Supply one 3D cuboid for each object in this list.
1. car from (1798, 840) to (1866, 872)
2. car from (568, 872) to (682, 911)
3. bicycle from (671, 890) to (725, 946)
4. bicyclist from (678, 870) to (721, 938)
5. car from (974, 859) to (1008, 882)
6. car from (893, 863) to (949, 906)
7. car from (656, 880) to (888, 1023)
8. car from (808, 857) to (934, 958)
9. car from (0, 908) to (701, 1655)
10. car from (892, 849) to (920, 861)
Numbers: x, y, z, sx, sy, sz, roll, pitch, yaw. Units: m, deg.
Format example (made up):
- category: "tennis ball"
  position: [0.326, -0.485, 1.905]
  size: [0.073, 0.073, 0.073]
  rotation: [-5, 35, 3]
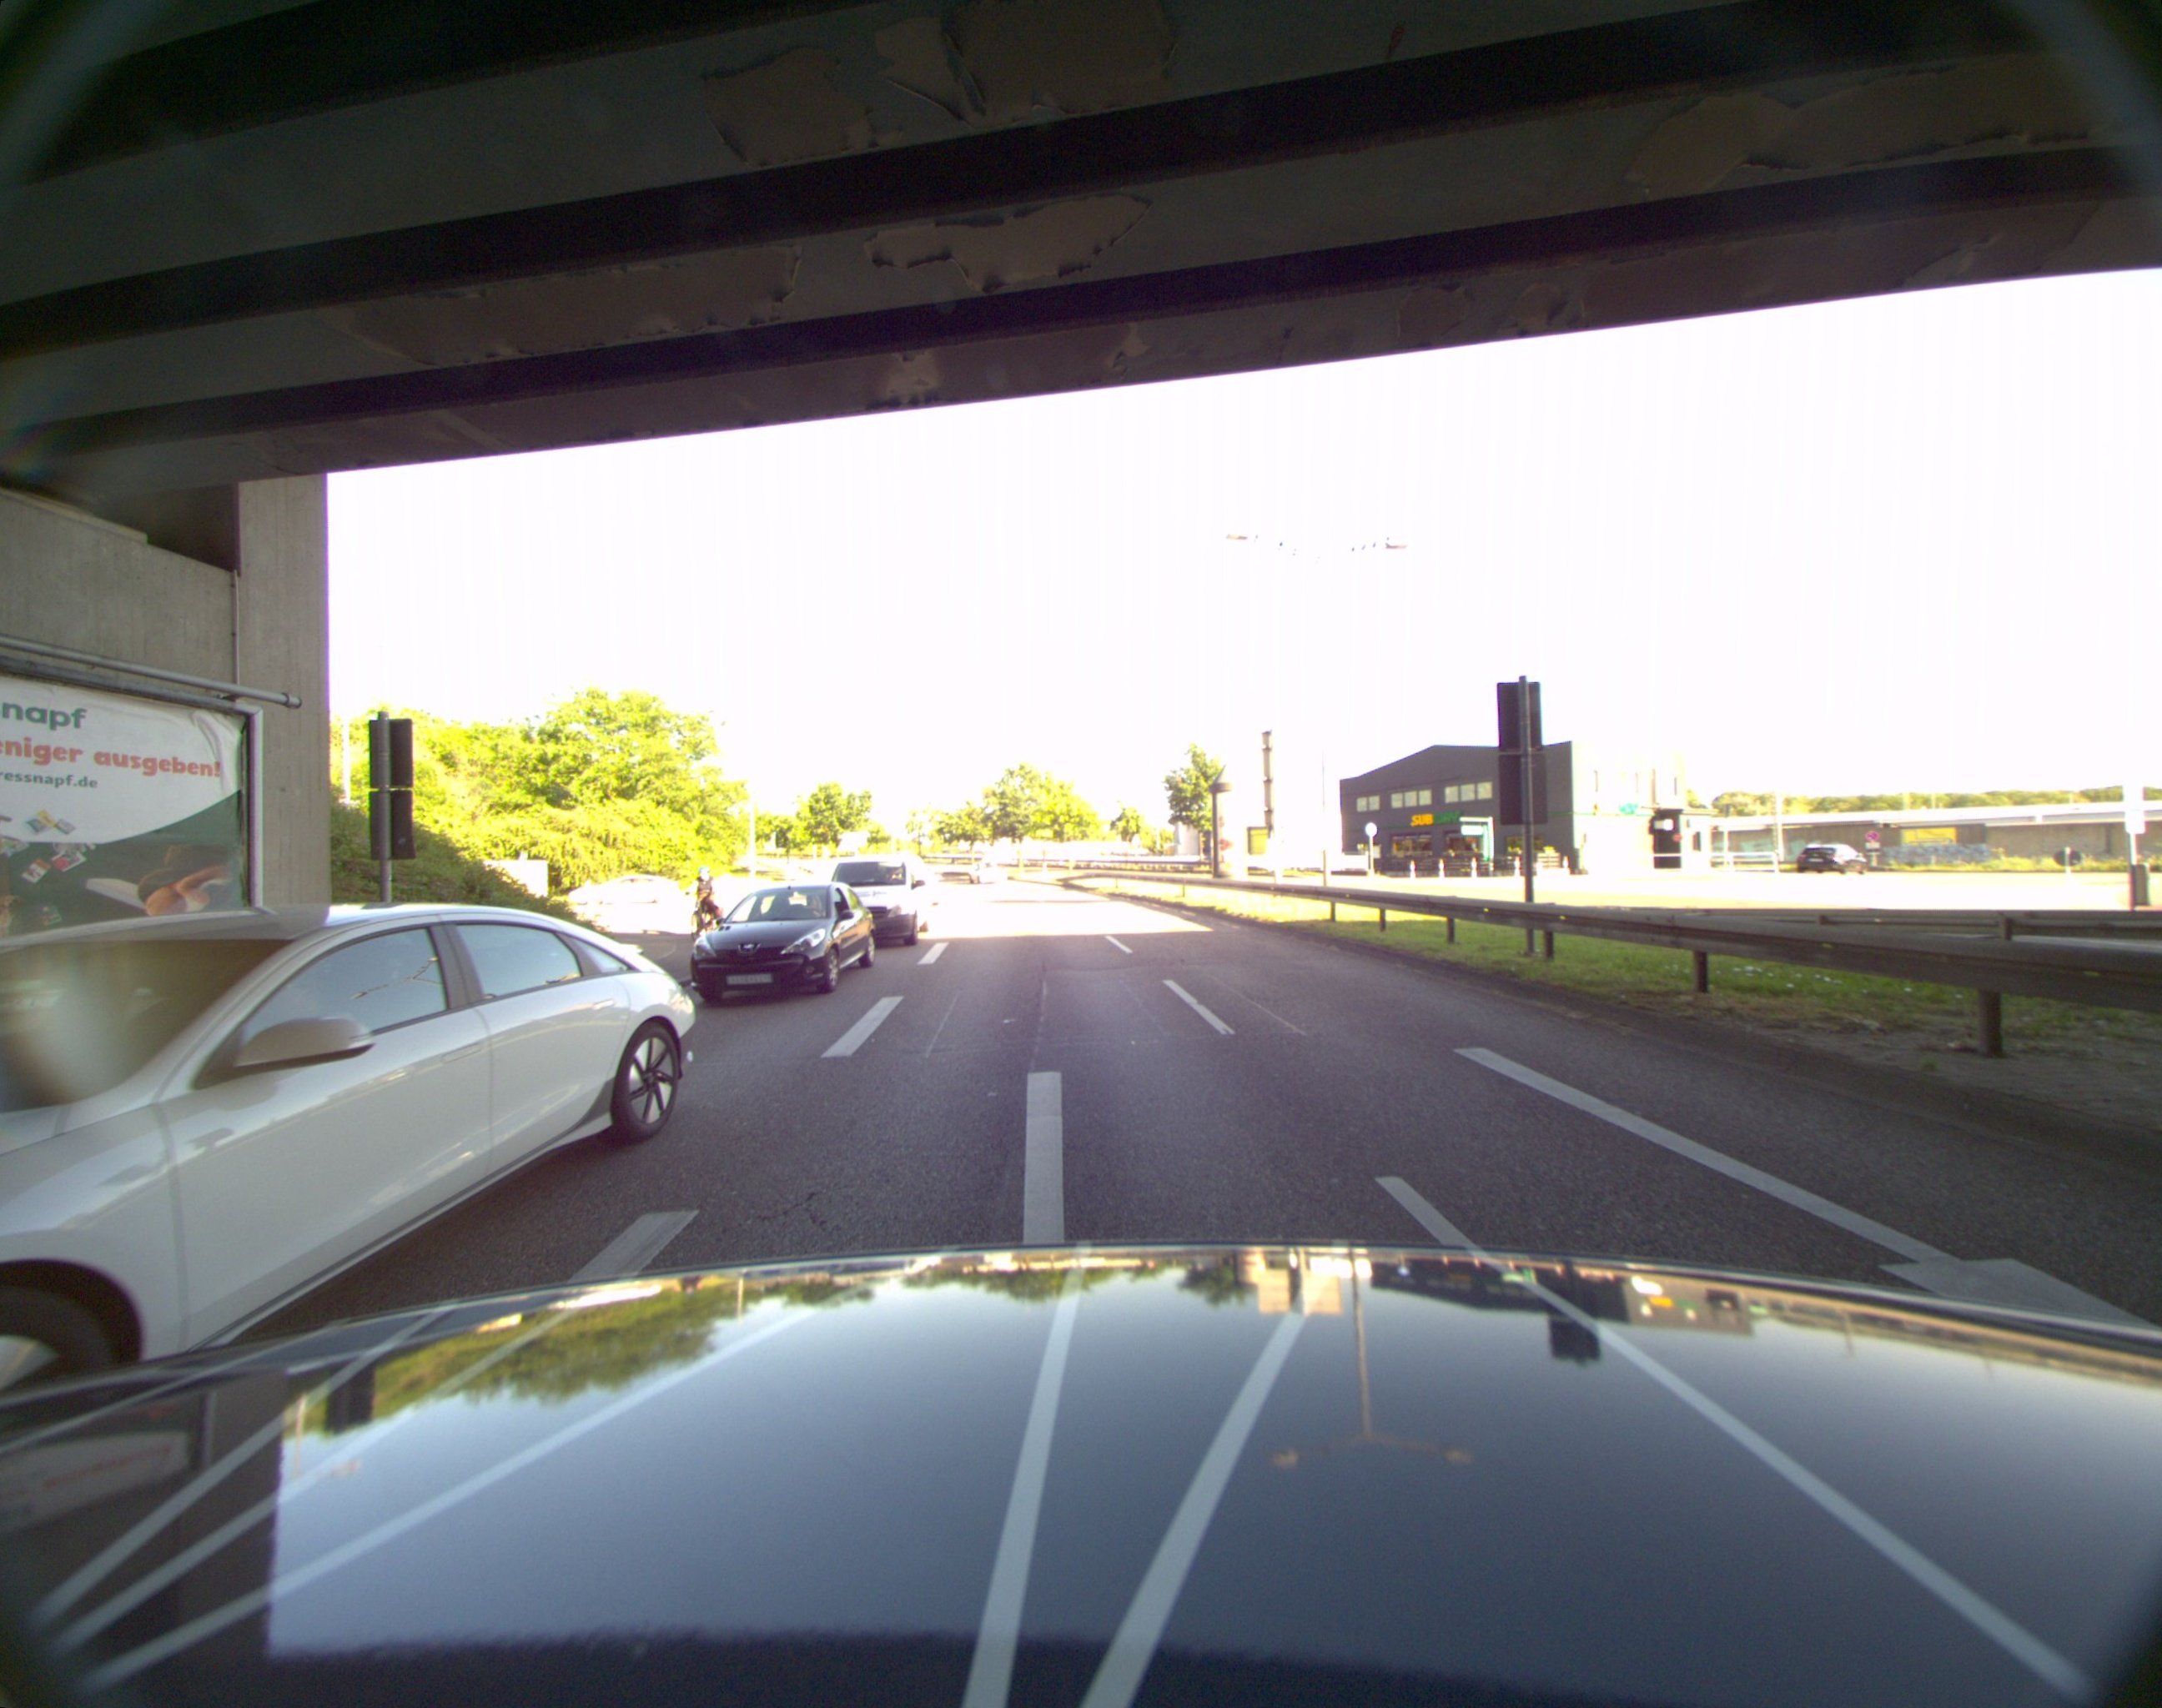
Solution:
- category: "car"
  position: [38.421, 0.080, 38.865]
  size: [4.007, 1.434, 1.878]
  rotation: [-3, 1, -37]
- category: "car"
  position: [-22.488, 1.793, 37.586]
  size: [4.543, 1.587, 1.815]
  rotation: [-3, 1, -41]
- category: "bicycle"
  position: [-8.783, 1.446, 17.478]
  size: [0.653, 1.160, 1.776]
  rotation: [1, -1, -12]
- category: "bicyclist"
  position: [-8.792, 1.142, 17.530]
  size: [0.655, 1.524, 0.846]
  rotation: [1, -1, -11]
- category: "car"
  position: [-6.124, 1.100, 51.577]
  size: [1.739, 1.396, 3.865]
  rotation: [-2, 1, -15]
- category: "car"
  position: [-6.547, 1.201, 31.521]
  size: [2.000, 1.542, 4.417]
  rotation: [-2, 0, -9]
- category: "car"
  position: [-3.997, 1.177, 10.547]
  size: [1.750, 1.447, 3.716]
  rotation: [-2, 0, -2]
- category: "car"
  position: [-4.439, 1.015, 16.798]
  size: [1.903, 1.825, 4.832]
  rotation: [-2, 0, -7]
- category: "car"
  position: [-3.405, 1.124, 2.847]
  size: [1.750, 1.447, 4.663]
  rotation: [-2, 0, -3]
- category: "car"
  position: [-23.914, 0.123, 103.617]
  size: [1.809, 1.597, 4.284]
  rotation: [-2, 1, -41]
